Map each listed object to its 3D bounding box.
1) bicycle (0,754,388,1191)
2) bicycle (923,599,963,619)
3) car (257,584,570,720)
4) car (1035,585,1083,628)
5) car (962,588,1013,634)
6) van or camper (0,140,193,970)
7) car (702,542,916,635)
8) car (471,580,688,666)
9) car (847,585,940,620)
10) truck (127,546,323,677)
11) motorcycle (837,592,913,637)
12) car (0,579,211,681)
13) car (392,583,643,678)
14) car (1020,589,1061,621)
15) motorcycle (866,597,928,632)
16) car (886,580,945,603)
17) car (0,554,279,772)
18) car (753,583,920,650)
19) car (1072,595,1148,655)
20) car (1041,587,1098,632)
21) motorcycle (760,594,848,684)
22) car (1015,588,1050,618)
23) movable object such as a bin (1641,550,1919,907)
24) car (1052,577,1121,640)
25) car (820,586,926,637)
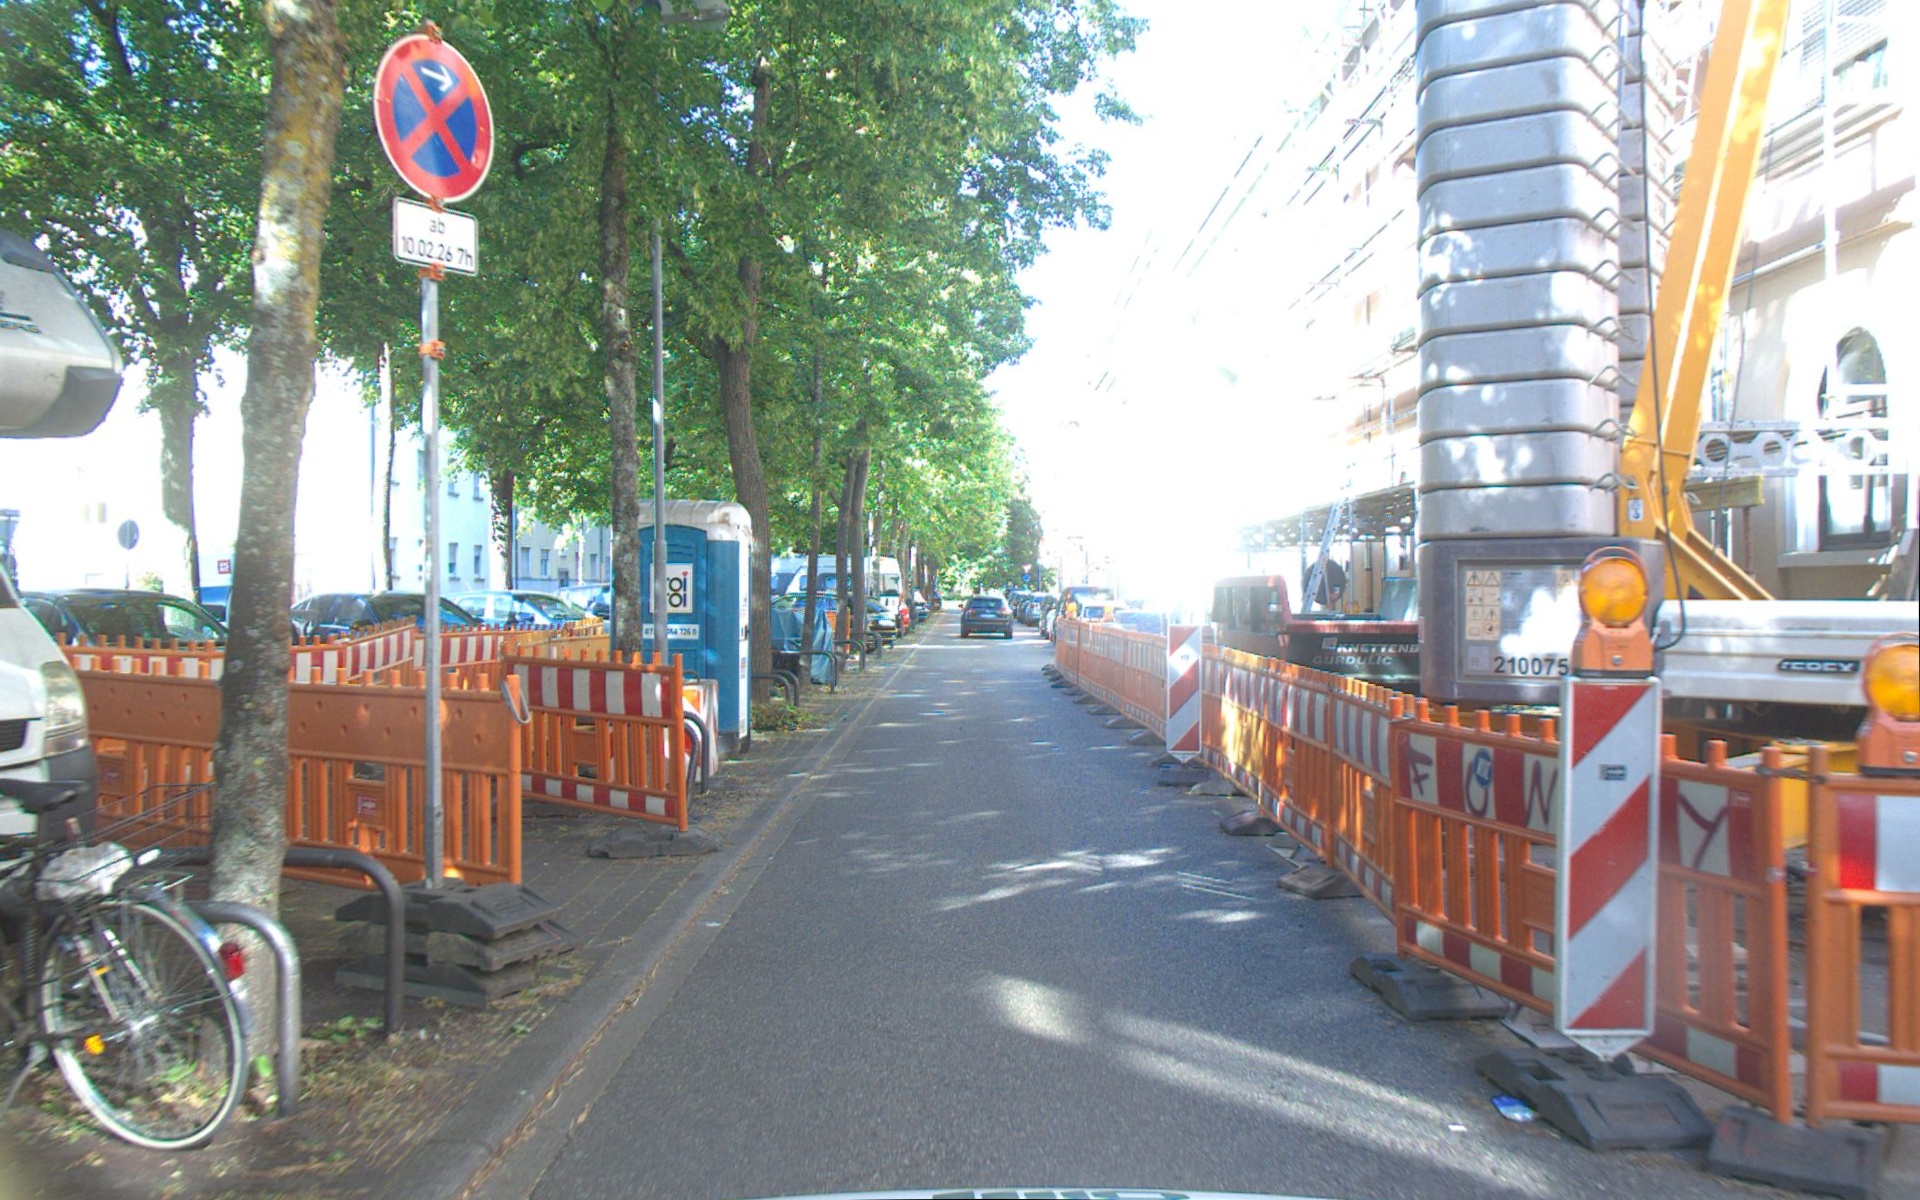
[{"bbox_3d":[-2.737,0.932,4.401,2.324,0.995,0.502,-1,0,9],"label":"bicycle"},{"bbox_3d":[-0.806,0.425,79.193,1.858,0.935,0.379,1,0,20],"label":"bicycle"},{"bbox_3d":[-6.866,0.609,20.646,3.917,1.545,1.666,-1,0,34],"label":"car"},{"bbox_3d":[3.586,0.227,60.491,1.566,1.518,3.967,0,0,1],"label":"car"},{"bbox_3d":[0.973,0.367,57.300,1.679,1.509,4.145,-1,0,2],"label":"car"},{"bbox_3d":[-6.308,-0.141,7.155,5.899,3.054,2.396,-1,0,29],"label":"van or camper"},{"bbox_3d":[-4.519,-0.350,49.019,6.195,2.603,2.332,1,0,33],"label":"car"},{"bbox_3d":[-7.666,0.454,33.324,4.036,1.654,1.698,-1,0,23],"label":"car"},{"bbox_3d":[-2.918,0.108,72.294,3.939,1.500,1.620,-1,0,36],"label":"car"},{"bbox_3d":[-14.709,0.213,33.382,1.882,2.451,4.265,-1,0,2],"label":"truck"},{"bbox_3d":[-2.676,0.454,51.897,2.276,1.358,0.967,-1,0,-9],"label":"motorcycle"},{"bbox_3d":[-14.536,0.465,28.340,1.588,1.601,4.192,1,0,-2],"label":"car"},{"bbox_3d":[-7.310,0.483,27.333,3.820,1.486,1.578,0,0,21],"label":"car"},{"bbox_3d":[3.703,0.212,76.528,1.733,1.456,4.291,0,0,0],"label":"car"},{"bbox_3d":[-2.267,0.519,59.802,2.101,1.251,0.882,1,0,9],"label":"motorcycle"},{"bbox_3d":[-3.229,-0.601,119.911,4.019,1.492,1.860,2,-1,-14],"label":"car"},{"bbox_3d":[-7.575,0.505,14.651,2.929,1.747,1.418,0,0,32],"label":"car"},{"bbox_3d":[-3.120,0.392,41.444,4.017,1.552,1.696,0,2,36],"label":"car"},{"bbox_3d":[3.984,0.635,44.411,1.669,1.538,4.284,0,0,0],"label":"car"},{"bbox_3d":[3.654,0.300,55.868,1.574,1.445,4.568,0,0,-1],"label":"car"},{"bbox_3d":[-2.440,0.601,26.207,0.617,1.347,2.230,1,0,15],"label":"motorcycle"},{"bbox_3d":[3.765,0.123,86.619,1.657,1.493,4.005,1,0,0],"label":"car"},{"bbox_3d":[4.443,0.549,7.990,1.839,1.553,1.622,-1,0,34],"label":"movable object such as a bin"},{"bbox_3d":[3.802,0.227,50.136,1.735,1.825,3.989,0,0,-1],"label":"car"},{"bbox_3d":[-2.987,0.375,56.140,1.648,1.646,3.825,-1,0,-39],"label":"car"}]
